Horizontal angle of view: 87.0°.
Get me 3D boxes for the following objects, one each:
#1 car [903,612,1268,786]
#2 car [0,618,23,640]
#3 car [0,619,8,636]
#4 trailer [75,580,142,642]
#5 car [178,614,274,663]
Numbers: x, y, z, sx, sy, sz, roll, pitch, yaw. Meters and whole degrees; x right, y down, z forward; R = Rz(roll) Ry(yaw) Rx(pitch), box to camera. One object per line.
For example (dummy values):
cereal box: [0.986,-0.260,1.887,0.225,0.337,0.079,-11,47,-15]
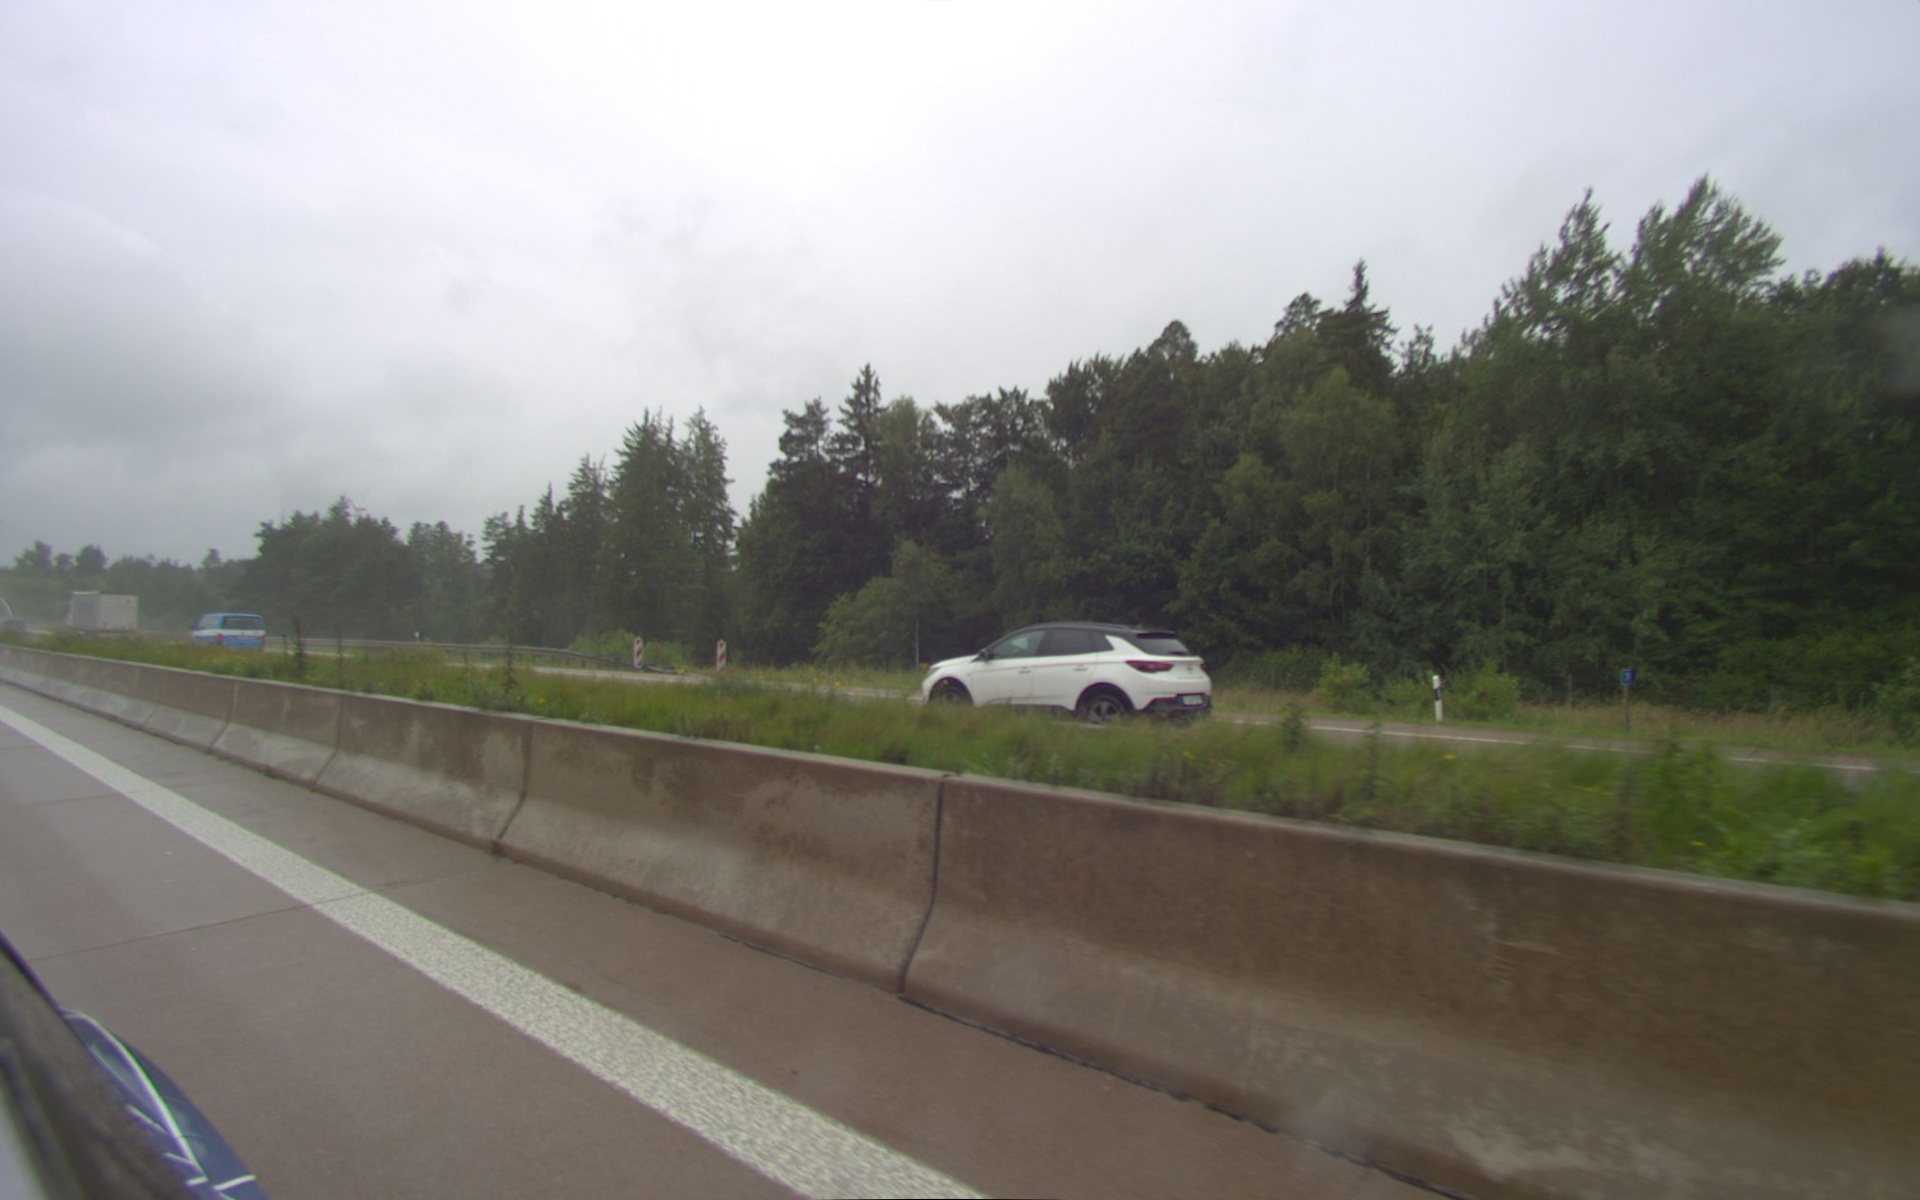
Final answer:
car: [1.637,1.215,14.353,4.796,2.029,2.067,-1,-1,41]
car: [-90.235,2.753,95.372,5.149,2.029,2.283,-1,-1,41]
car: [-115.997,3.353,121.209,5.753,1.993,2.283,-1,-1,41]
trailer: [-74.275,0.951,88.123,3.710,4.990,13.693,-1,0,-43]
car: [-32.852,1.670,45.227,5.659,2.029,2.283,-1,-1,41]
